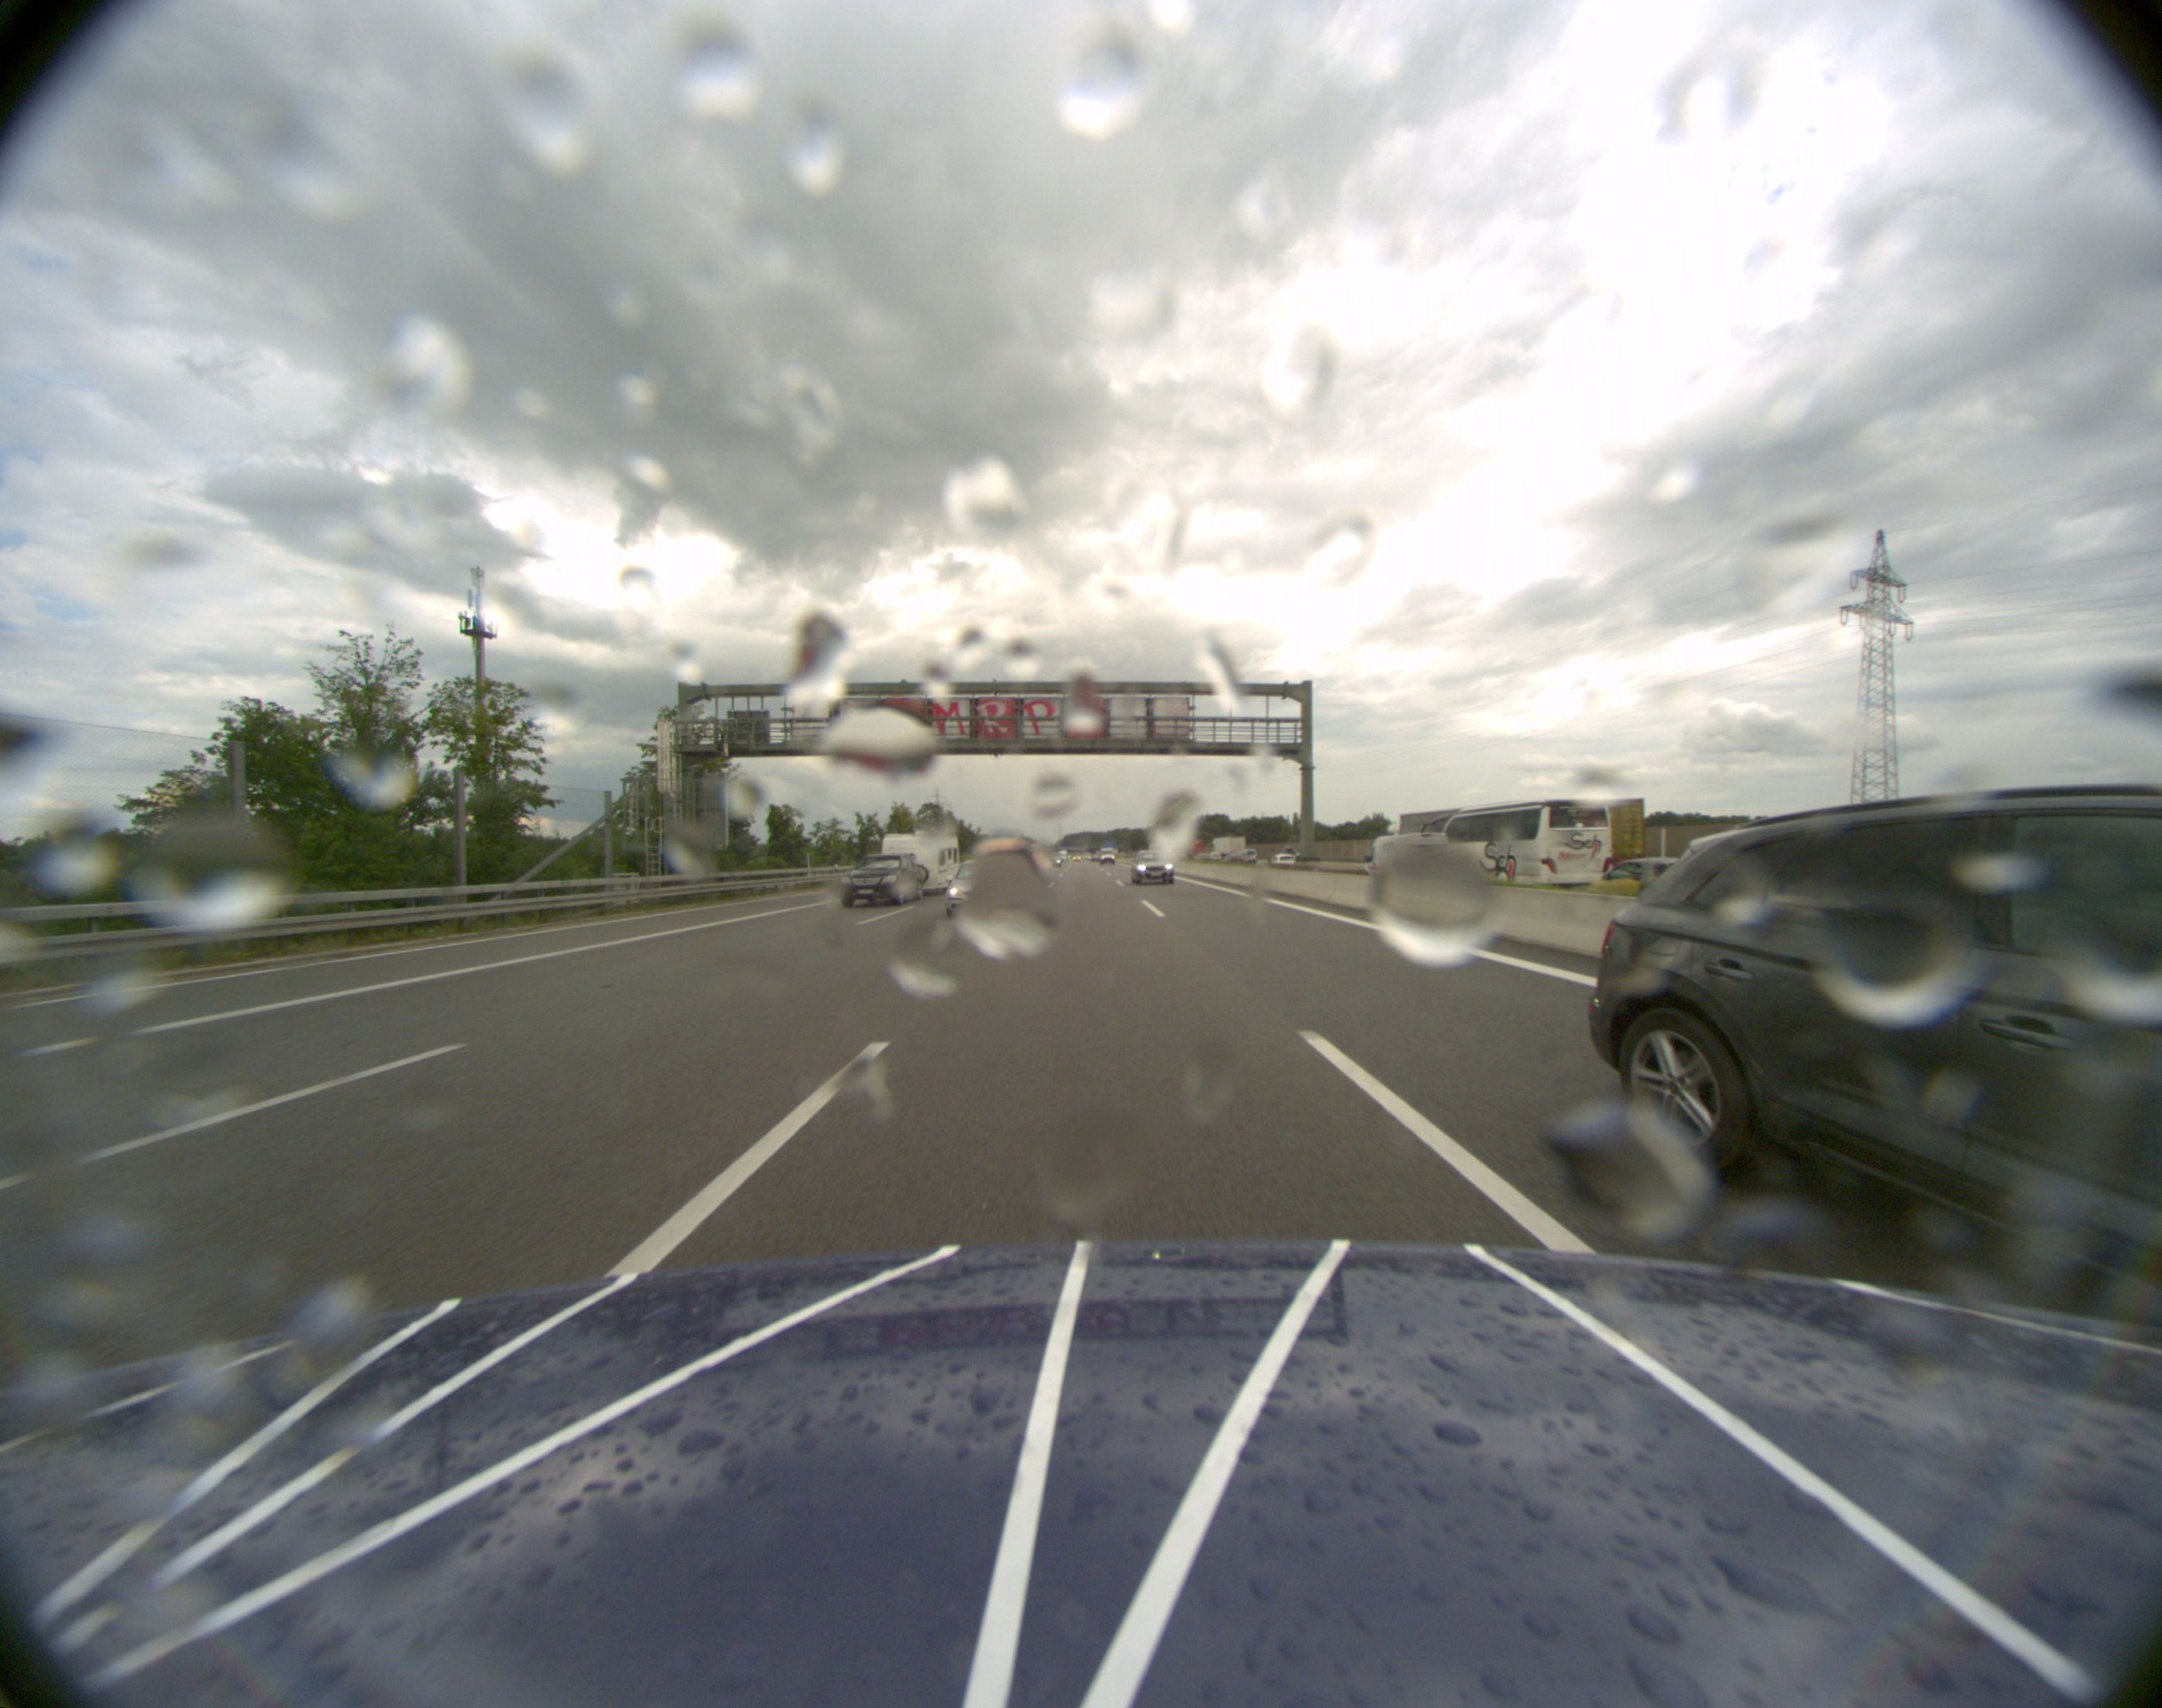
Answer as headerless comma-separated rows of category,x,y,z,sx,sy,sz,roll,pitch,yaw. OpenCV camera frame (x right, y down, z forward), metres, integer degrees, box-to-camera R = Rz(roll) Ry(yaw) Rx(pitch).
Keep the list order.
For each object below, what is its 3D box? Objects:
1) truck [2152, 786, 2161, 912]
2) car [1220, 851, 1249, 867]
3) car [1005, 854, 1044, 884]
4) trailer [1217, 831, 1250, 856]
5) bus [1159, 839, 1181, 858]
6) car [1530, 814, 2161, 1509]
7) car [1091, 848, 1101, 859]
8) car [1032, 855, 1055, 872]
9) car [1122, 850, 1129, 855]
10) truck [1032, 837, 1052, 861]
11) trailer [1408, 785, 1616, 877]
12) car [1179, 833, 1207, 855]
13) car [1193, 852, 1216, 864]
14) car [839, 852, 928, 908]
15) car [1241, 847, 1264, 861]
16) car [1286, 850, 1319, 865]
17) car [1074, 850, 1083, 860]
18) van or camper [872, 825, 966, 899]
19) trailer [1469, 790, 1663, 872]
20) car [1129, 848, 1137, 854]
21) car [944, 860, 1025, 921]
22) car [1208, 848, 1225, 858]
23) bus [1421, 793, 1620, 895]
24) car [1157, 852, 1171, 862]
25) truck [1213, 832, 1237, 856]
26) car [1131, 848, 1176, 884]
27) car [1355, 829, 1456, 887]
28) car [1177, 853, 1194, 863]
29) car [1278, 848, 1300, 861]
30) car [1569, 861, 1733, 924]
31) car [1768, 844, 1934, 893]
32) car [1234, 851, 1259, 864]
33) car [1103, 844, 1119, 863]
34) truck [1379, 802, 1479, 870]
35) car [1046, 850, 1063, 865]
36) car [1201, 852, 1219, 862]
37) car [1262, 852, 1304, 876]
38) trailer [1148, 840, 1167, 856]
truck,25.364,-0.095,13.150,2.698,2.798,7.834,-1,1,1
car,14.879,0.478,73.820,1.792,1.373,4.589,-2,0,-1
car,-2.916,0.757,39.607,1.717,1.437,3.999,-2,0,0
trailer,26.661,-1.799,133.512,2.908,4.092,12.697,-2,0,-1
bus,18.350,-1.158,157.088,2.897,3.590,12.757,-2,0,-1
car,3.550,0.719,1.798,1.913,1.681,5.168,-2,0,0
car,3.014,-0.132,153.355,1.999,2.002,3.999,-2,0,-1
car,-3.323,0.825,68.343,1.841,1.437,3.999,-2,0,-1
car,13.906,-0.489,237.043,1.792,1.446,4.564,-3,0,-1
truck,-6.464,-0.810,127.518,2.870,3.633,9.593,-2,0,0
trailer,22.014,-1.035,40.525,2.893,3.938,14.297,-2,0,0
car,21.822,-1.911,149.022,2.990,4.100,14.393,-2,0,-1
car,14.582,0.437,89.829,1.792,1.373,4.860,-2,0,-1
car,-6.754,0.825,26.527,1.925,1.766,4.502,-2,0,0
car,22.318,-0.008,99.148,1.795,1.729,4.577,-2,0,-1
car,21.940,0.292,75.388,1.792,1.373,4.860,-2,0,-1
car,-0.548,0.217,170.865,1.999,2.002,3.999,-2,0,-1
van or camper,-6.690,0.286,32.417,2.390,2.723,7.208,-2,0,0
trailer,26.865,-1.167,43.379,3.036,3.910,12.973,-1,1,1
car,17.108,-1.110,251.028,2.286,1.956,6.086,-2,0,1
car,-2.519,0.912,20.713,1.683,1.437,3.999,-2,0,0
car,21.905,-0.151,123.176,1.792,1.582,4.581,-2,0,-1
bus,18.305,-0.399,32.864,2.660,3.658,10.633,-1,1,1
car,13.782,0.489,126.401,1.721,1.514,4.212,-2,0,-1
truck,26.598,-1.819,140.460,2.908,4.092,6.621,-2,0,-1
car,3.579,0.557,38.269,1.840,1.615,4.915,-2,0,2
car,14.667,0.169,34.737,2.142,2.338,5.710,-2,0,0
car,15.325,0.525,112.000,1.721,1.418,4.860,-2,0,-1
car,26.922,0.001,98.441,1.792,1.588,3.955,-2,0,-1
car,14.235,0.895,19.209,1.618,1.380,3.328,-1,0,-1
car,26.148,0.454,26.010,1.791,1.533,3.888,-1,1,1
car,19.105,0.421,87.998,1.792,1.373,4.860,-2,0,-1
car,4.246,-0.098,109.234,1.999,2.524,4.808,-2,0,-1
truck,22.049,-1.063,48.665,2.893,3.938,7.535,-2,0,0
car,-3.338,0.423,96.716,1.999,1.701,3.999,-2,0,-1
car,18.930,0.435,111.438,1.721,1.418,4.860,-2,0,-1
car,14.242,0.671,53.751,1.741,1.530,4.376,-2,0,-1
trailer,21.068,-1.635,209.913,3.669,4.084,13.398,-2,0,0
